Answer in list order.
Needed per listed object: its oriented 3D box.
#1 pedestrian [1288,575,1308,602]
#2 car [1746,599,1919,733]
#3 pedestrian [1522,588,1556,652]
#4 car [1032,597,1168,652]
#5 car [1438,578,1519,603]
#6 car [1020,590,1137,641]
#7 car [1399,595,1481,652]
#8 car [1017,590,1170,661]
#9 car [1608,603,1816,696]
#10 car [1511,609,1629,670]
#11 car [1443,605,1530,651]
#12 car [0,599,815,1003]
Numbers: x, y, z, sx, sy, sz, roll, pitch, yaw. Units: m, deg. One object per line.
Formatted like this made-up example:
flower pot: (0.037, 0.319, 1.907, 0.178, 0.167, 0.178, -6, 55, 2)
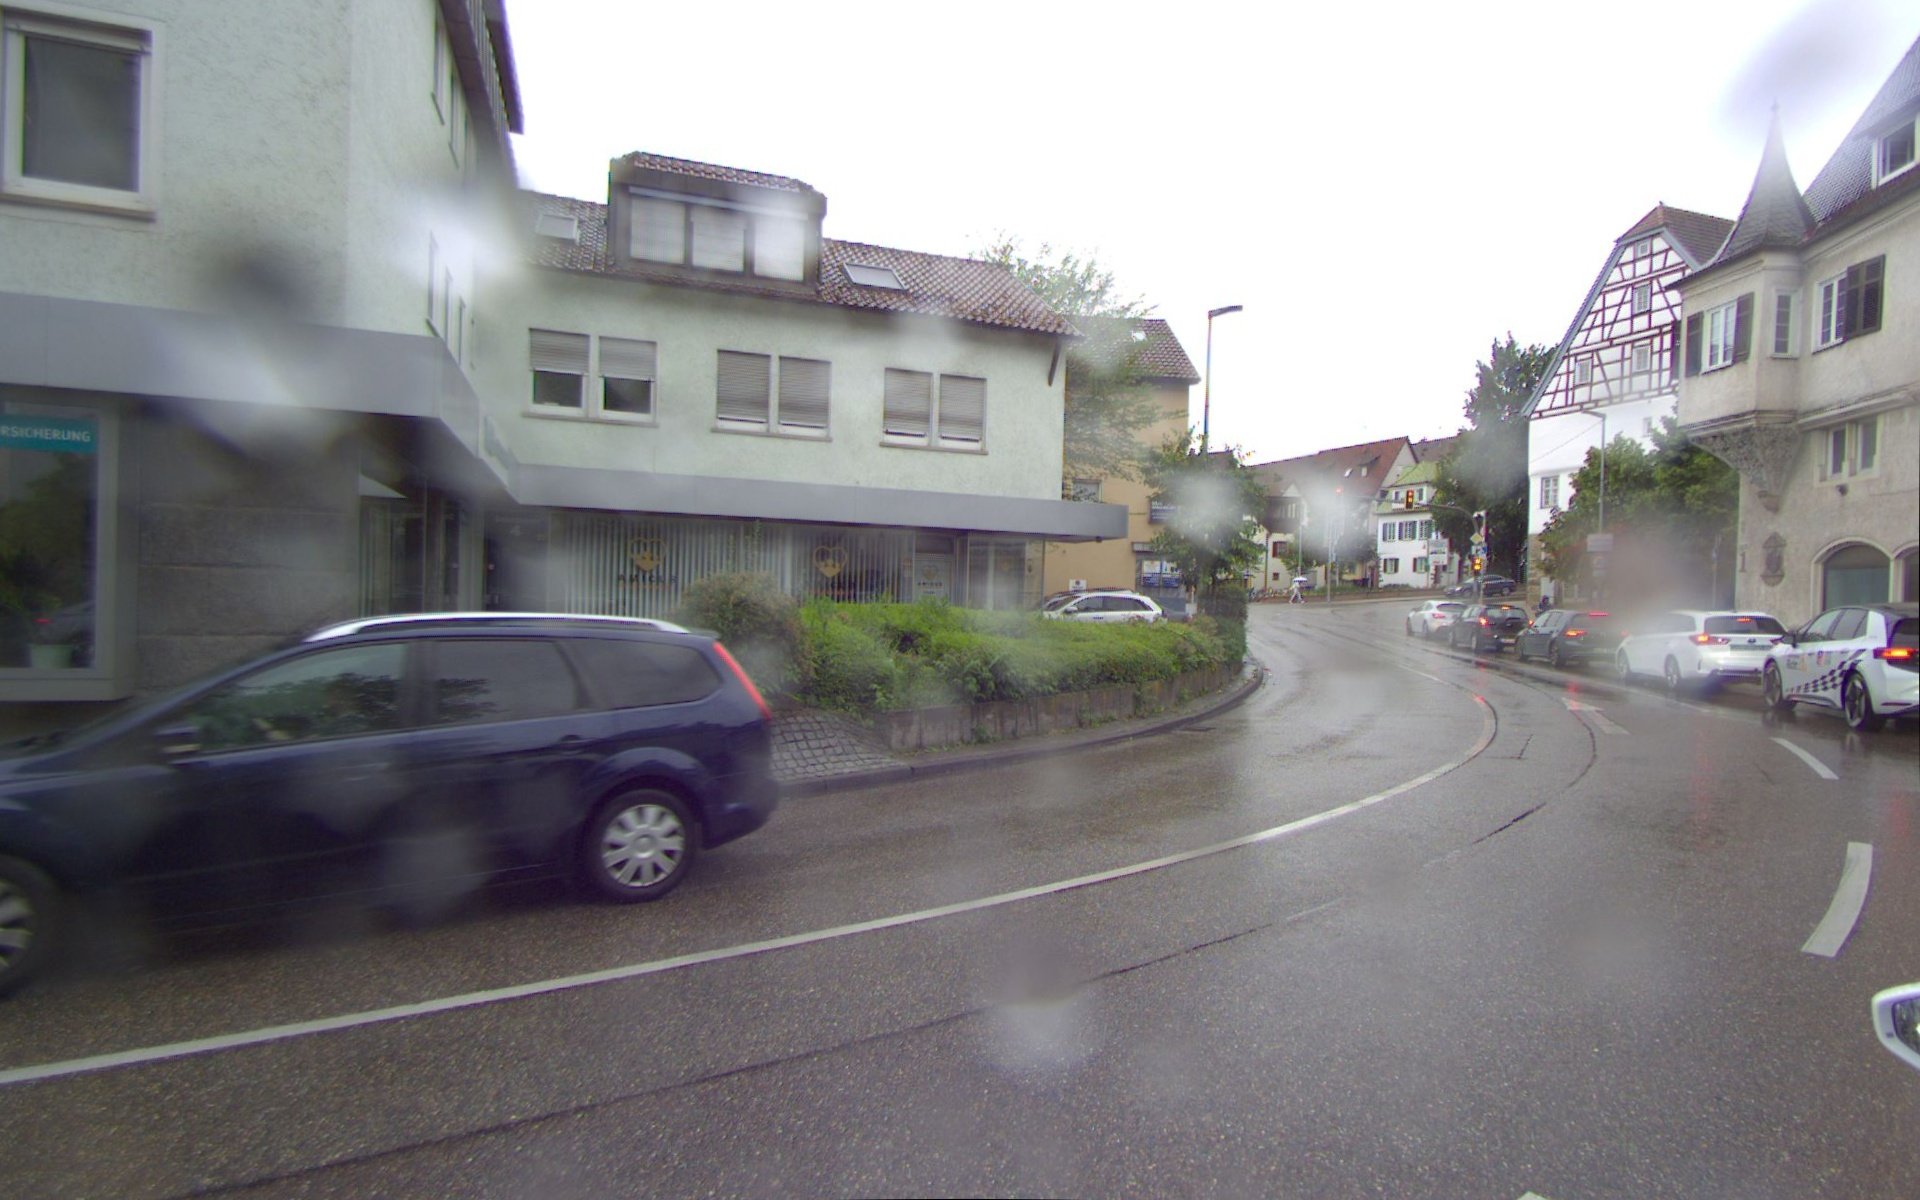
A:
pedestrian: (22.969, -0.787, 68.301, 1.126, 1.765, 1.006, 1, 0, 11)
car: (12.197, 0.774, 13.262, 1.760, 1.537, 4.239, -1, -1, 22)
pedestrian: (21.903, 0.743, 38.041, 0.851, 2.357, 1.231, 1, 0, 18)
car: (3.891, 0.674, 28.191, 3.472, 1.475, 1.710, 0, 1, -8)
car: (33.528, -0.620, 64.979, 4.446, 1.409, 1.648, 1, 7, -8)
car: (3.814, 0.489, 32.698, 3.472, 1.597, 1.710, 0, 1, -8)
car: (18.541, 0.871, 39.013, 1.939, 2.118, 3.963, 0, 0, 11)
car: (3.299, 0.621, 25.196, 3.472, 1.708, 1.710, 0, 1, -8)
car: (13.954, 0.842, 18.947, 1.755, 1.485, 4.165, 0, 1, 16)
car: (15.655, 0.967, 25.985, 1.493, 1.380, 3.769, 0, 1, 13)
car: (16.939, 0.861, 32.482, 1.634, 1.330, 3.625, 0, 1, 13)
car: (-3.047, 0.791, 5.300, 4.231, 1.530, 1.721, 1, -1, -35)
